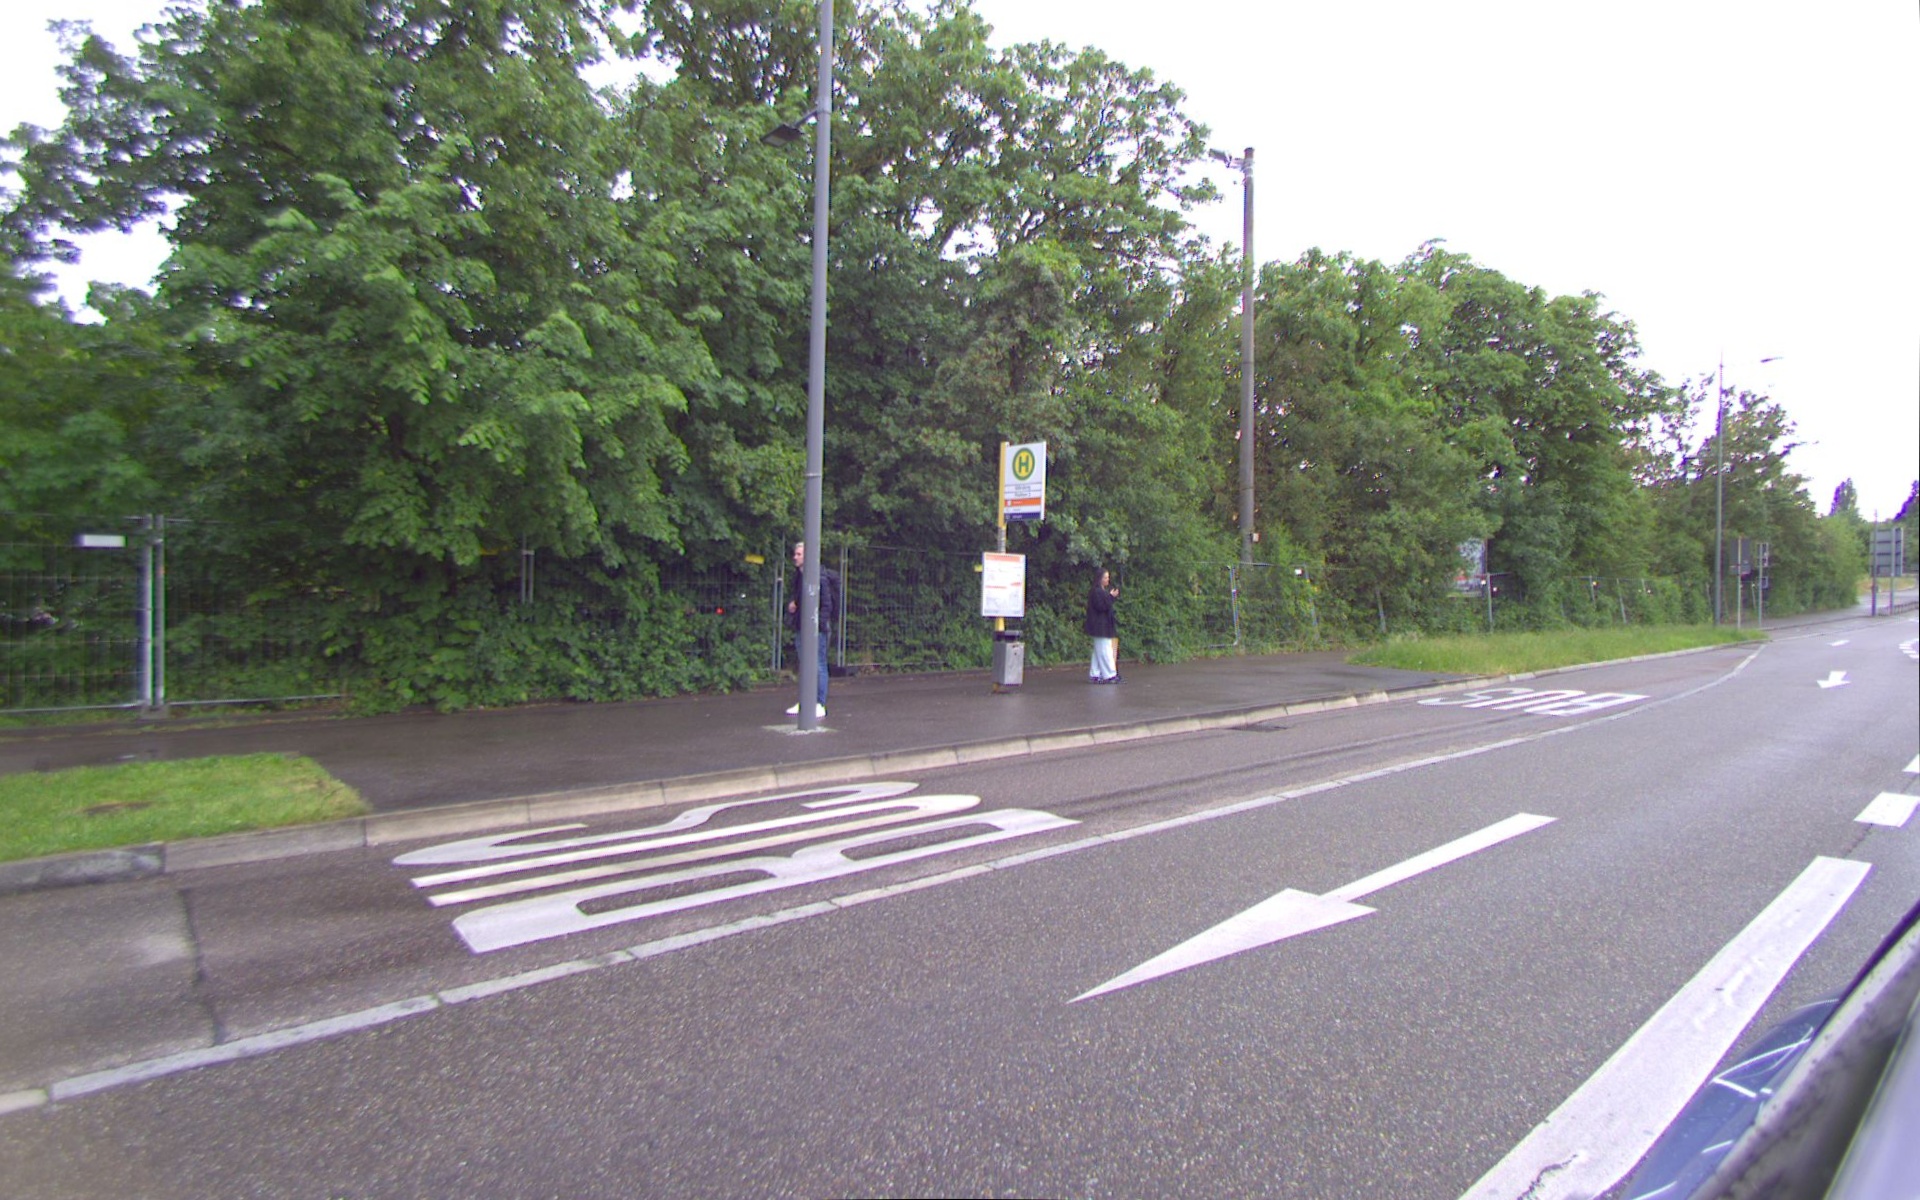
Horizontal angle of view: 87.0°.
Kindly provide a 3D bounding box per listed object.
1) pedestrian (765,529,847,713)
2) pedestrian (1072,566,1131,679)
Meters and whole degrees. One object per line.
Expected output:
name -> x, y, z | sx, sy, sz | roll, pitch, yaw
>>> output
pedestrian -> -1.728, 0.219, 11.321 | 0.587, 1.973, 0.742 | 0, 1, -40
pedestrian -> 2.132, 0.321, 15.239 | 0.650, 1.648, 0.588 | 0, 1, -40
